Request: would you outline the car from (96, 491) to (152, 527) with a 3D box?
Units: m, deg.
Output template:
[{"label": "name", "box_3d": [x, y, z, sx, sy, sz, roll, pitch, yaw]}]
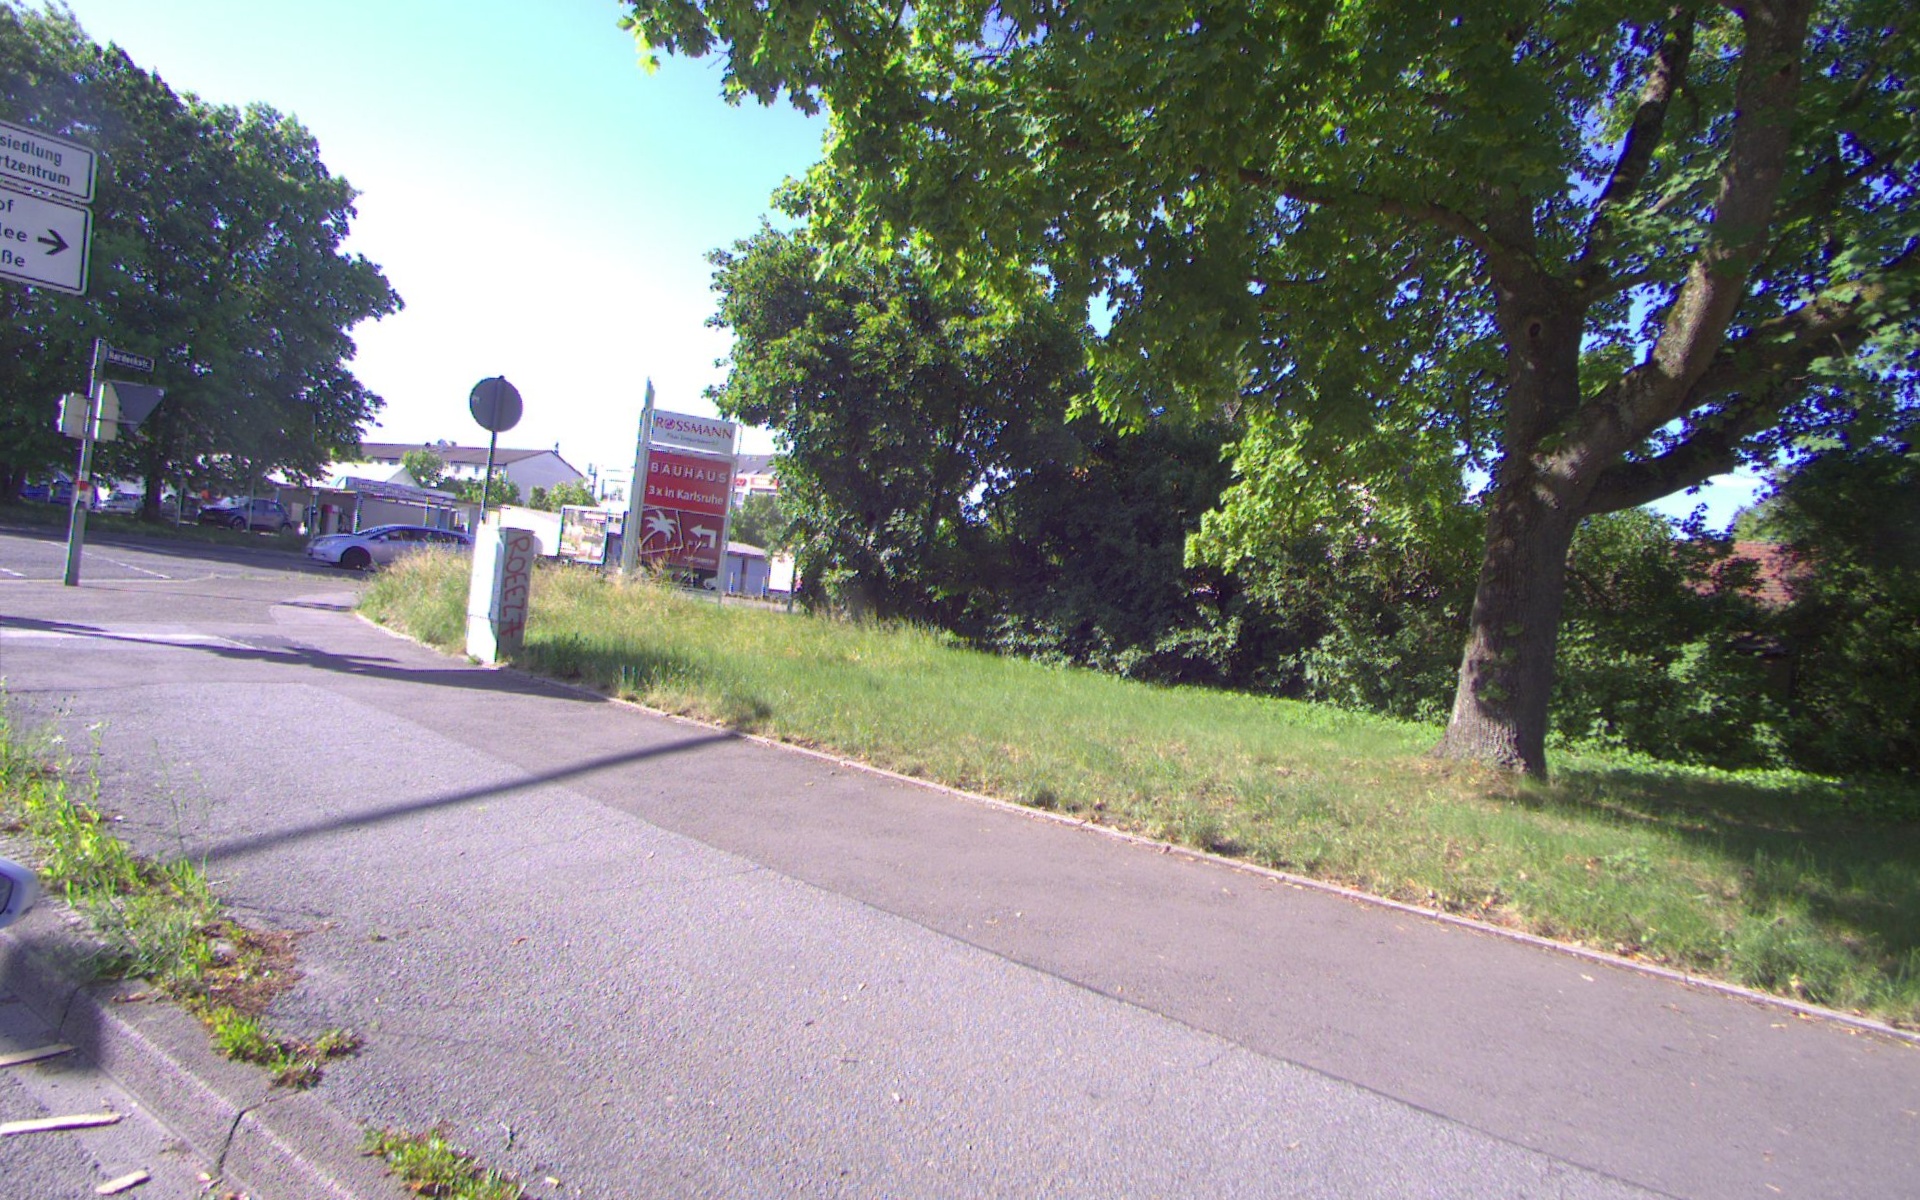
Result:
[{"label": "car", "box_3d": [-47.722, -5.160, 57.487, 1.726, 1.701, 3.967, 6, 1, -31]}]

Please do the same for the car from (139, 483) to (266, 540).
[{"label": "car", "box_3d": [-32.319, -3.741, 43.059, 1.962, 1.771, 4.002, 7, 0, 9]}]

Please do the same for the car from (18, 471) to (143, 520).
[{"label": "car", "box_3d": [-39.169, -4.628, 44.930, 1.712, 1.537, 3.902, 7, 0, 9]}]

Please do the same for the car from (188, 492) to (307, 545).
[{"label": "car", "box_3d": [-30.286, -3.427, 42.915, 1.712, 1.701, 4.001, 7, 0, 9]}]

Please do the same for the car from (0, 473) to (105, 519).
[{"label": "car", "box_3d": [-41.980, -4.769, 46.154, 1.712, 1.537, 3.902, 7, 0, 9]}]

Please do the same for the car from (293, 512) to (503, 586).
[{"label": "car", "box_3d": [-16.531, -1.470, 29.790, 1.973, 1.504, 4.994, 7, 0, 43]}]
